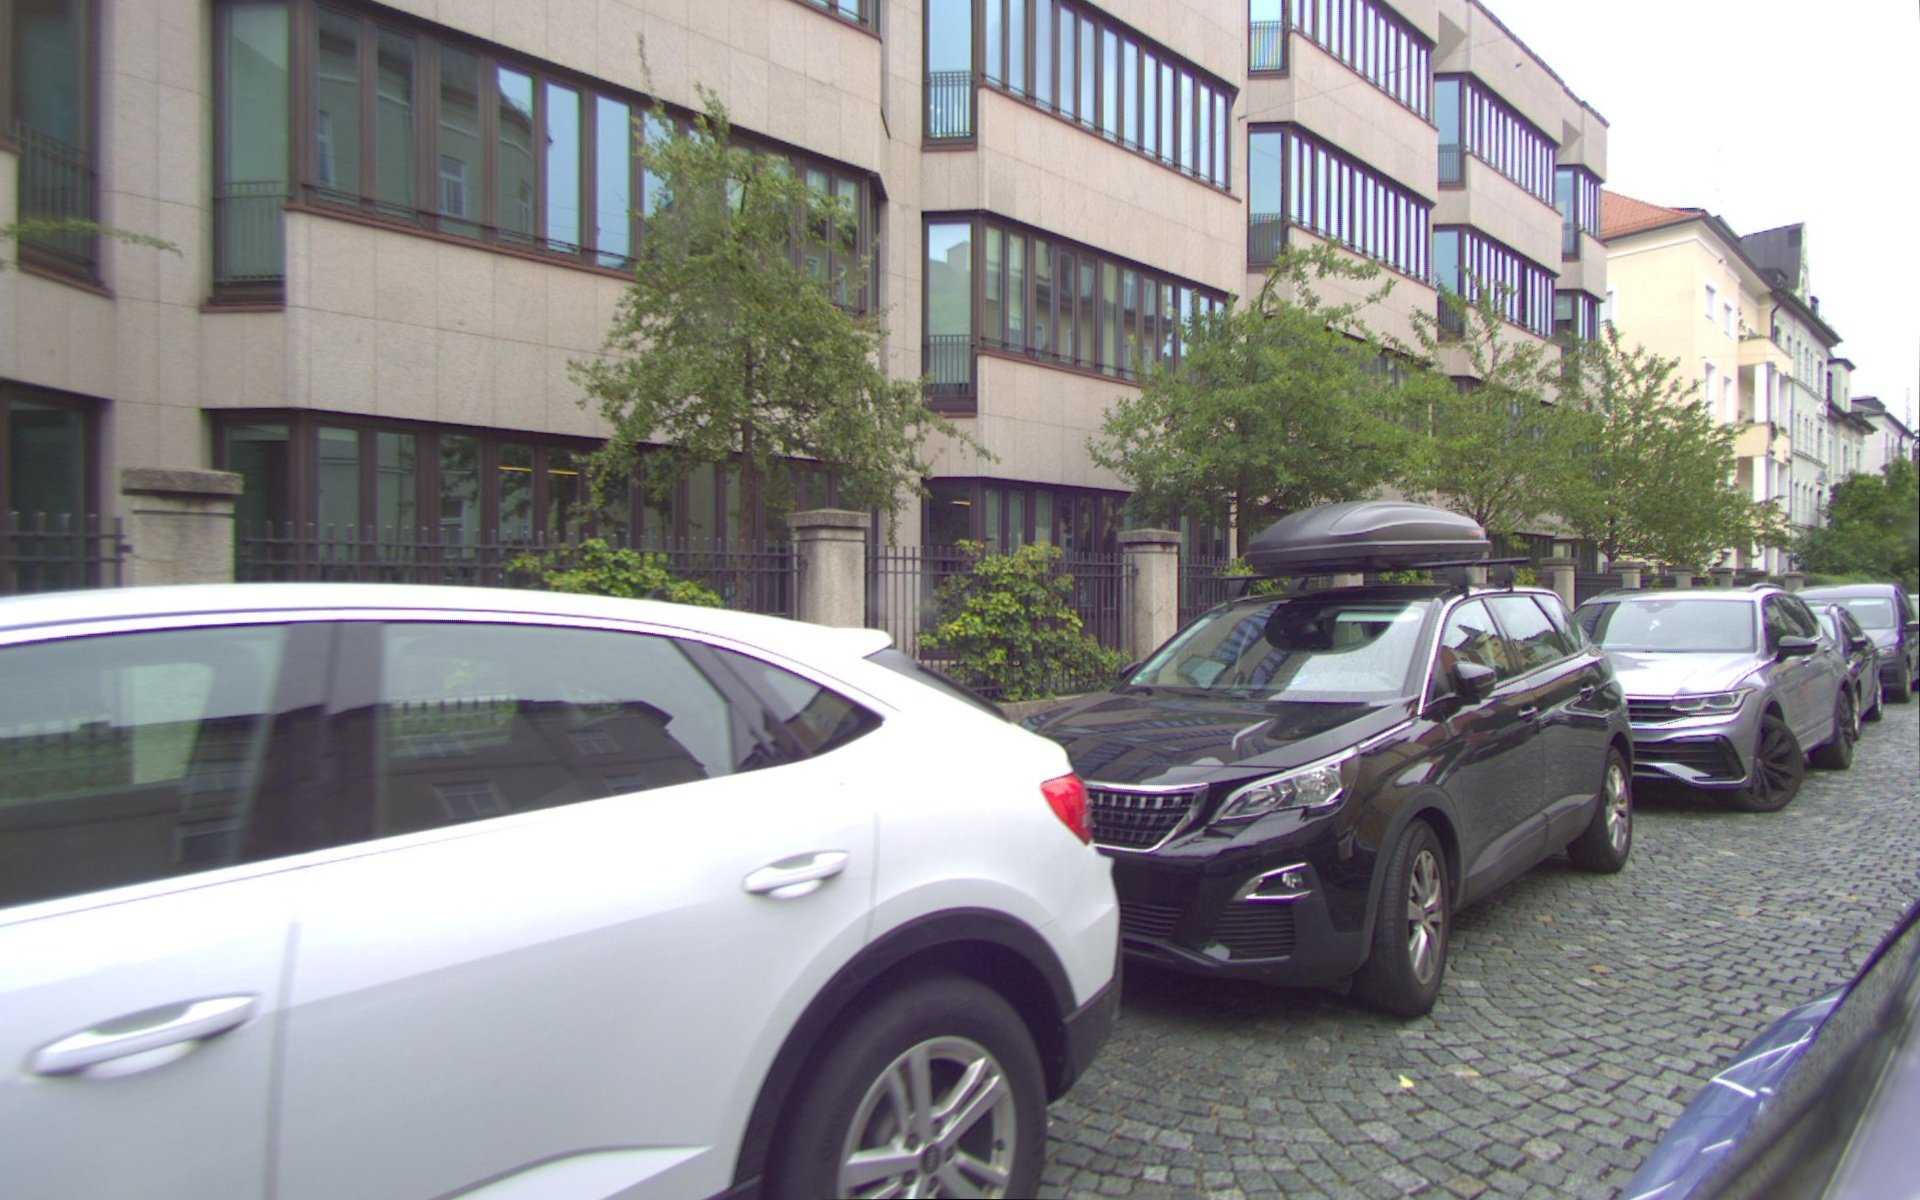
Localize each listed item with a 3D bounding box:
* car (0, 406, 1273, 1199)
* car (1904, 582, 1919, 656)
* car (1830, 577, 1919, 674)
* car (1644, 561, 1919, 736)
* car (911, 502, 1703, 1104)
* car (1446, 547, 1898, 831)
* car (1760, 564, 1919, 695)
[{"bbox_3d":[-1.571,0.574,1.854,4.533,1.510,1.877,0,-2,-39],"label":"car"},{"bbox_3d":[24.911,0.428,25.221,3.821,1.774,1.620,0,-3,-42],"label":"car"},{"bbox_3d":[18.629,0.448,19.685,4.729,1.724,1.863,0,-2,-41],"label":"car"},{"bbox_3d":[10.240,0.528,12.457,4.579,1.757,1.875,0,-3,-42],"label":"car"},{"bbox_3d":[2.147,0.623,5.268,4.668,1.757,1.874,0,-3,-43],"label":"car"},{"bbox_3d":[6.188,0.555,8.550,4.804,1.757,1.876,-1,-1,-40],"label":"car"},{"bbox_3d":[14.511,0.448,16.277,4.433,1.820,1.789,0,-3,-42],"label":"car"}]
